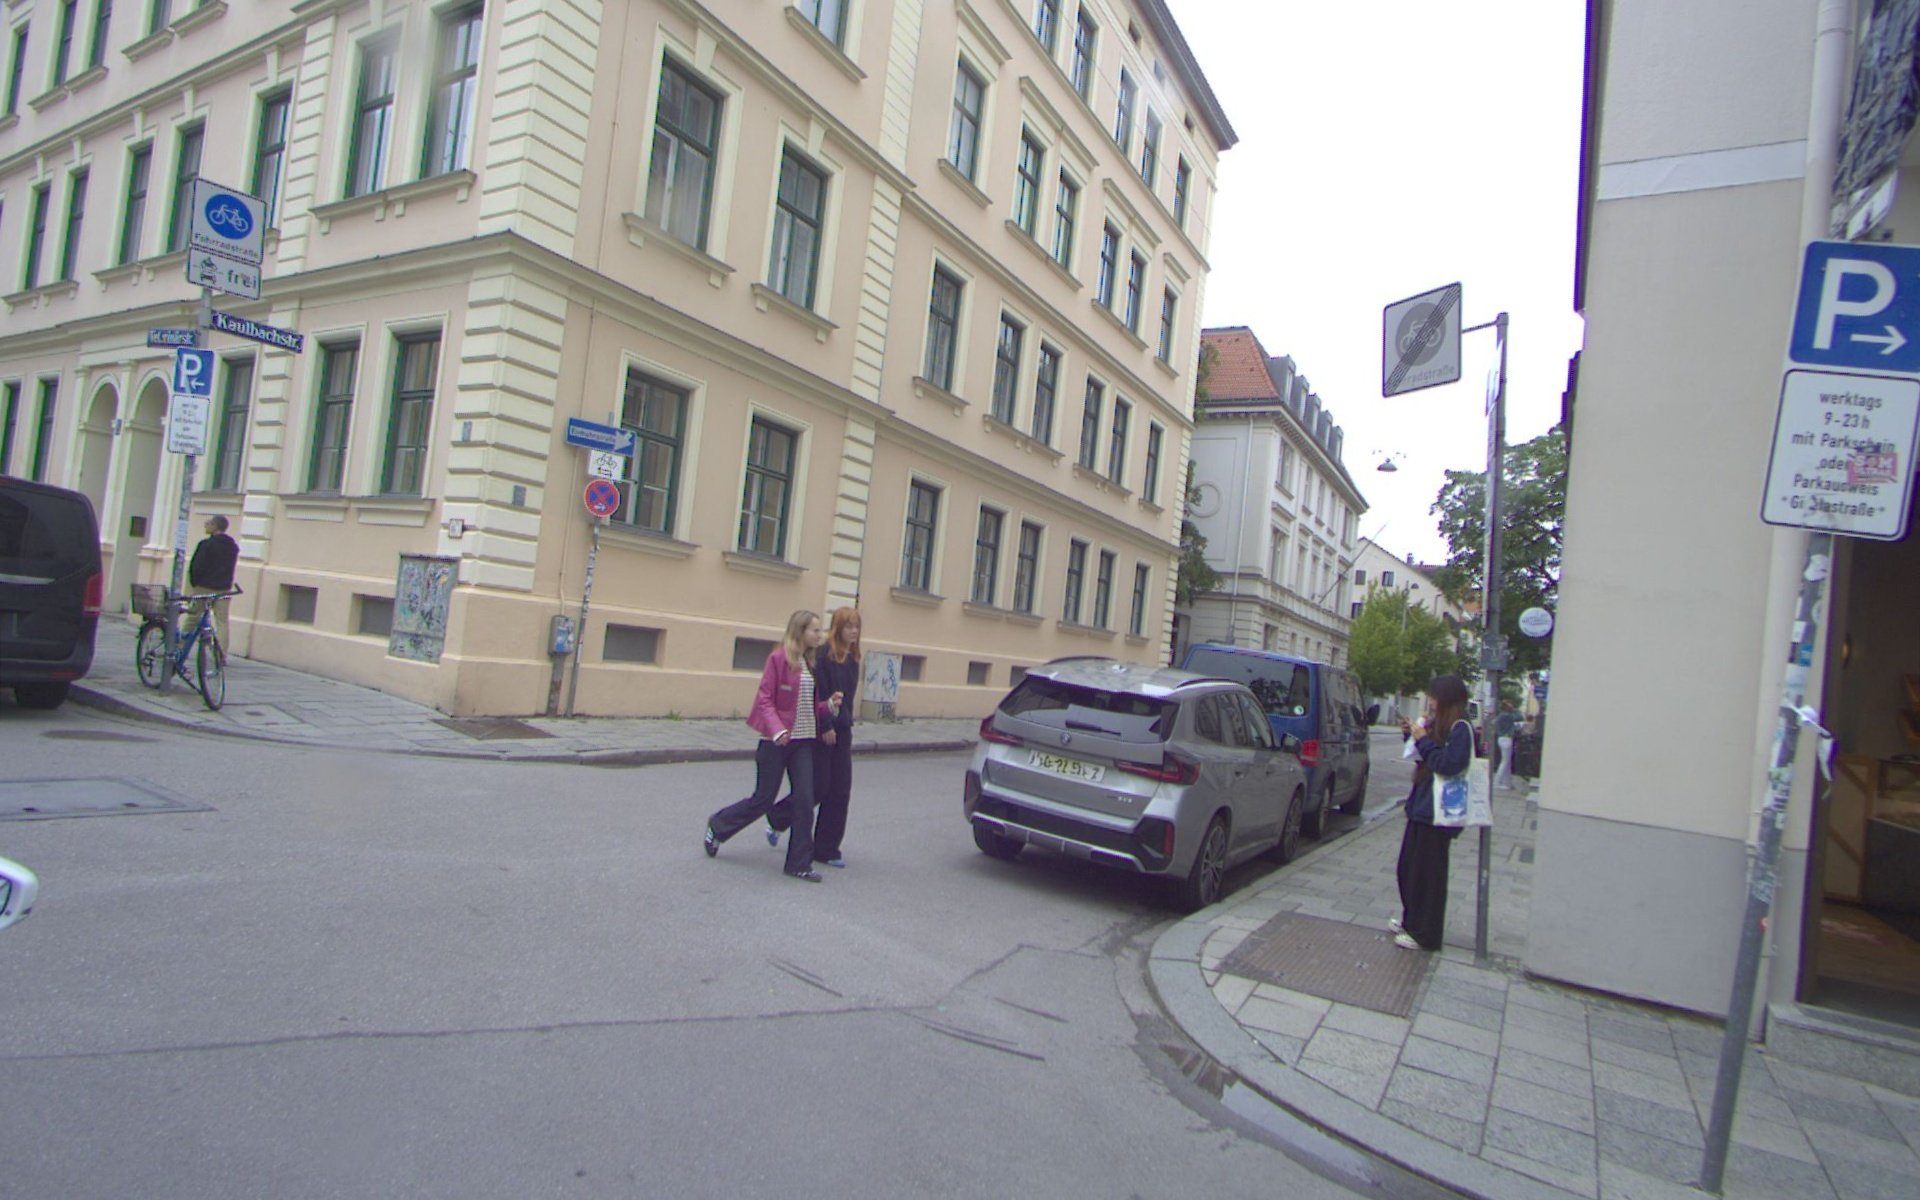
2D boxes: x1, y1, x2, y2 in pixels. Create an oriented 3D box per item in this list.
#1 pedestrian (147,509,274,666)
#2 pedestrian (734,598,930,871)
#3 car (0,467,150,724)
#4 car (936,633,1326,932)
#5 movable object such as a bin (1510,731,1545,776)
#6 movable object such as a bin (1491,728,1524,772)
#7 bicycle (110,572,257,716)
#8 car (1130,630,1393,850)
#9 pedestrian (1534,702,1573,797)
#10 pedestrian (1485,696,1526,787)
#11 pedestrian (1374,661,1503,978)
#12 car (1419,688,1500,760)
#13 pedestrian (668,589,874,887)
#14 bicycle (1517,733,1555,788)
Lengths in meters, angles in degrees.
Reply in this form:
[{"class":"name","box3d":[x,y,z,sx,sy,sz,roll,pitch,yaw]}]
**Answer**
[{"class":"pedestrian","box3d":[-8.843,-0.143,11.878,0.987,1.737,0.720,4,-2,31]},{"class":"pedestrian","box3d":[-0.856,0.866,6.786,0.963,1.639,0.660,4,-2,31]},{"class":"car","box3d":[-9.359,-0.264,8.714,5.168,1.885,2.001,6,-3,33]},{"class":"car","box3d":[1.686,1.332,8.398,1.725,1.624,4.098,8,-1,30]},{"class":"movable object such as a bin","box3d":[14.255,3.853,25.266,0.562,1.035,0.569,4,-3,44]},{"class":"movable object such as a bin","box3d":[14.170,3.876,26.038,0.562,1.035,0.569,4,-3,44]},{"class":"bicycle","box3d":[-7.222,0.384,9.330,1.701,1.066,0.465,8,2,33]},{"class":"car","box3d":[3.939,1.643,12.536,1.941,1.939,4.450,9,-1,30]},{"class":"pedestrian","box3d":[11.829,2.957,20.056,0.535,1.801,0.510,4,-2,33]},{"class":"pedestrian","box3d":[10.757,2.781,19.847,0.564,1.716,0.498,4,-2,32]},{"class":"pedestrian","box3d":[2.760,1.220,5.843,0.517,1.666,0.636,5,-2,24]},{"class":"car","box3d":[17.493,4.287,35.139,2.042,2.009,4.341,9,-1,30]},{"class":"pedestrian","box3d":[-1.170,0.807,6.217,1.052,1.643,0.473,4,-2,31]},{"class":"bicycle","box3d":[12.652,3.503,22.097,0.598,1.084,1.468,4,-3,32]}]
